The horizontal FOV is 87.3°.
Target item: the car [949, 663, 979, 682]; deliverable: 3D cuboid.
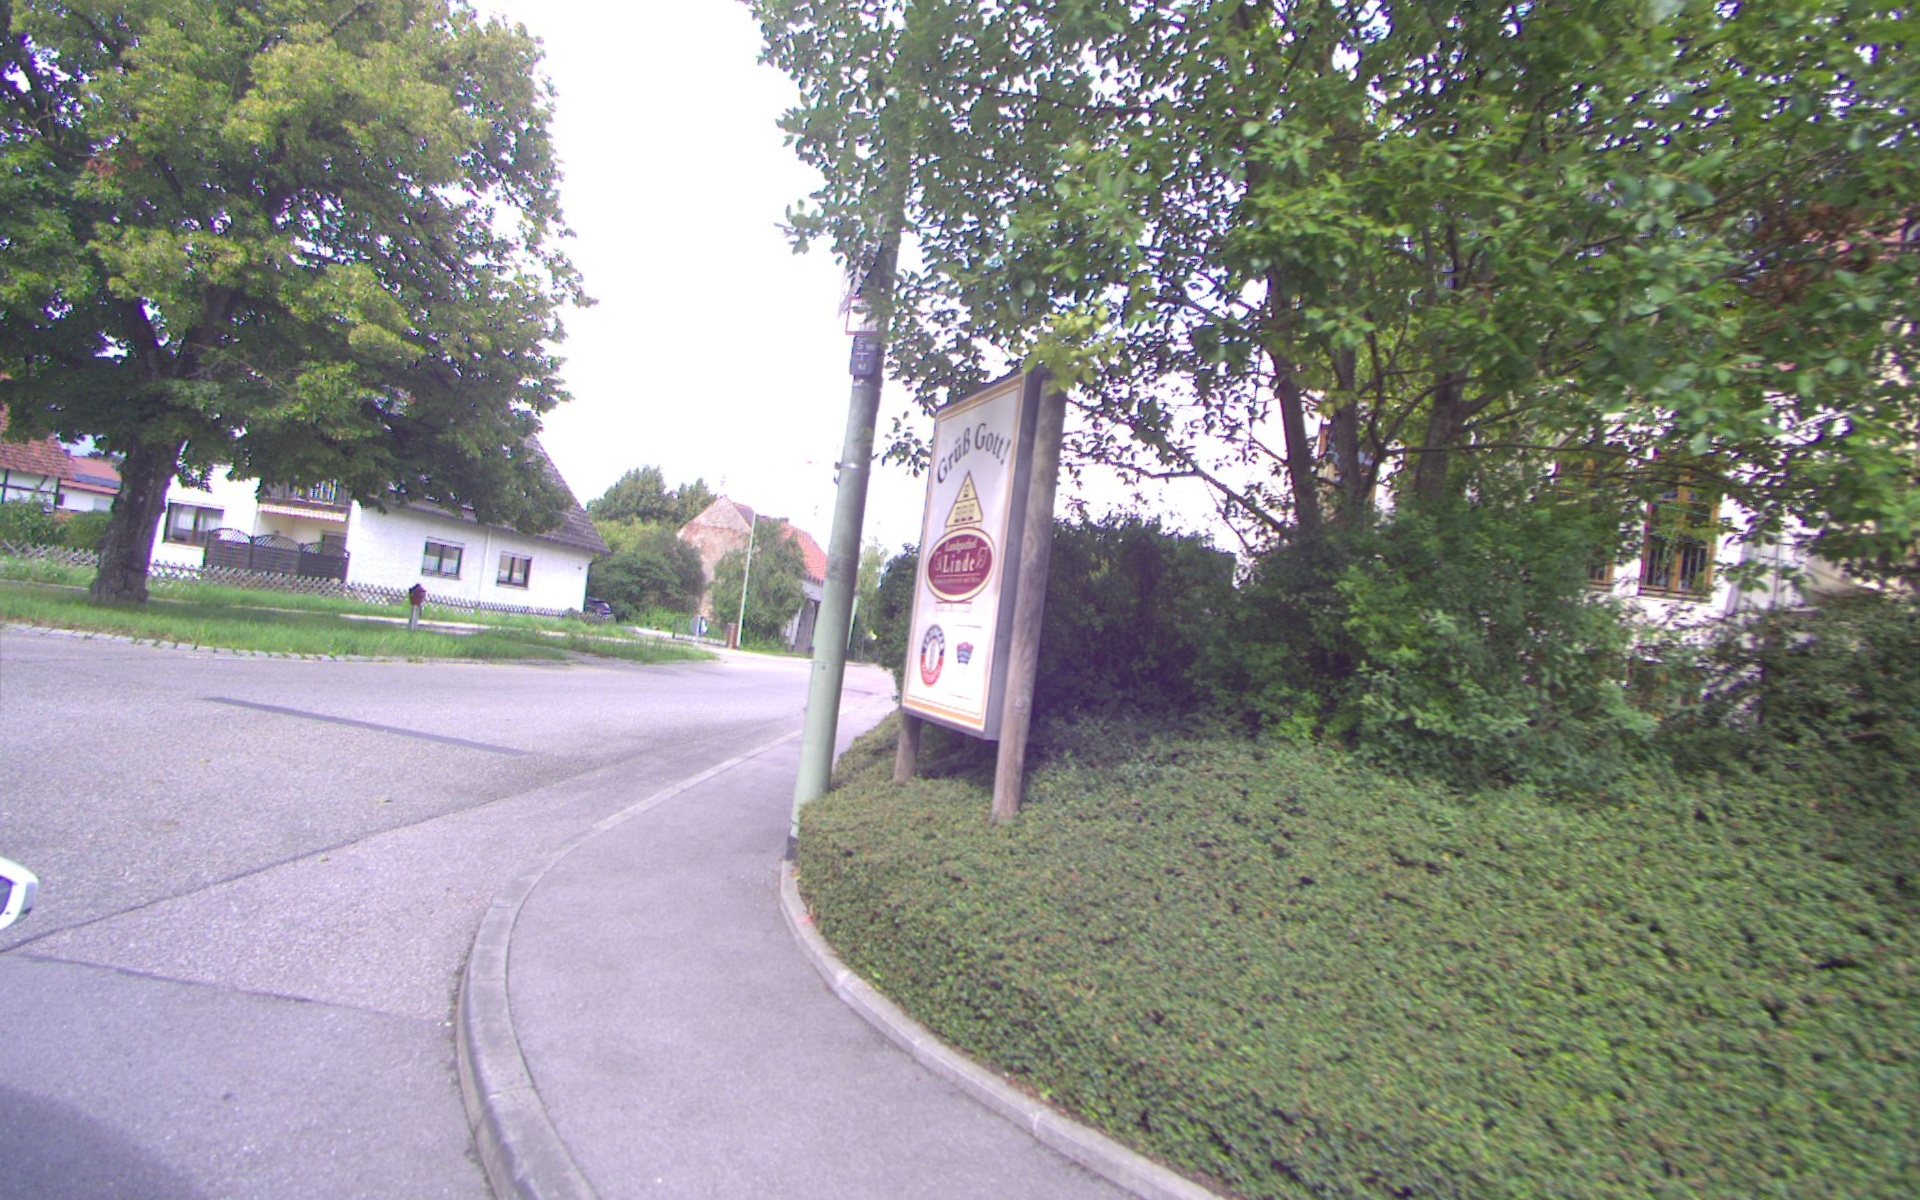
[{"bbox_3d":[0.421,7.035,97.235,1.698,1.624,4.006,7,-3,16],"label":"car"}]
